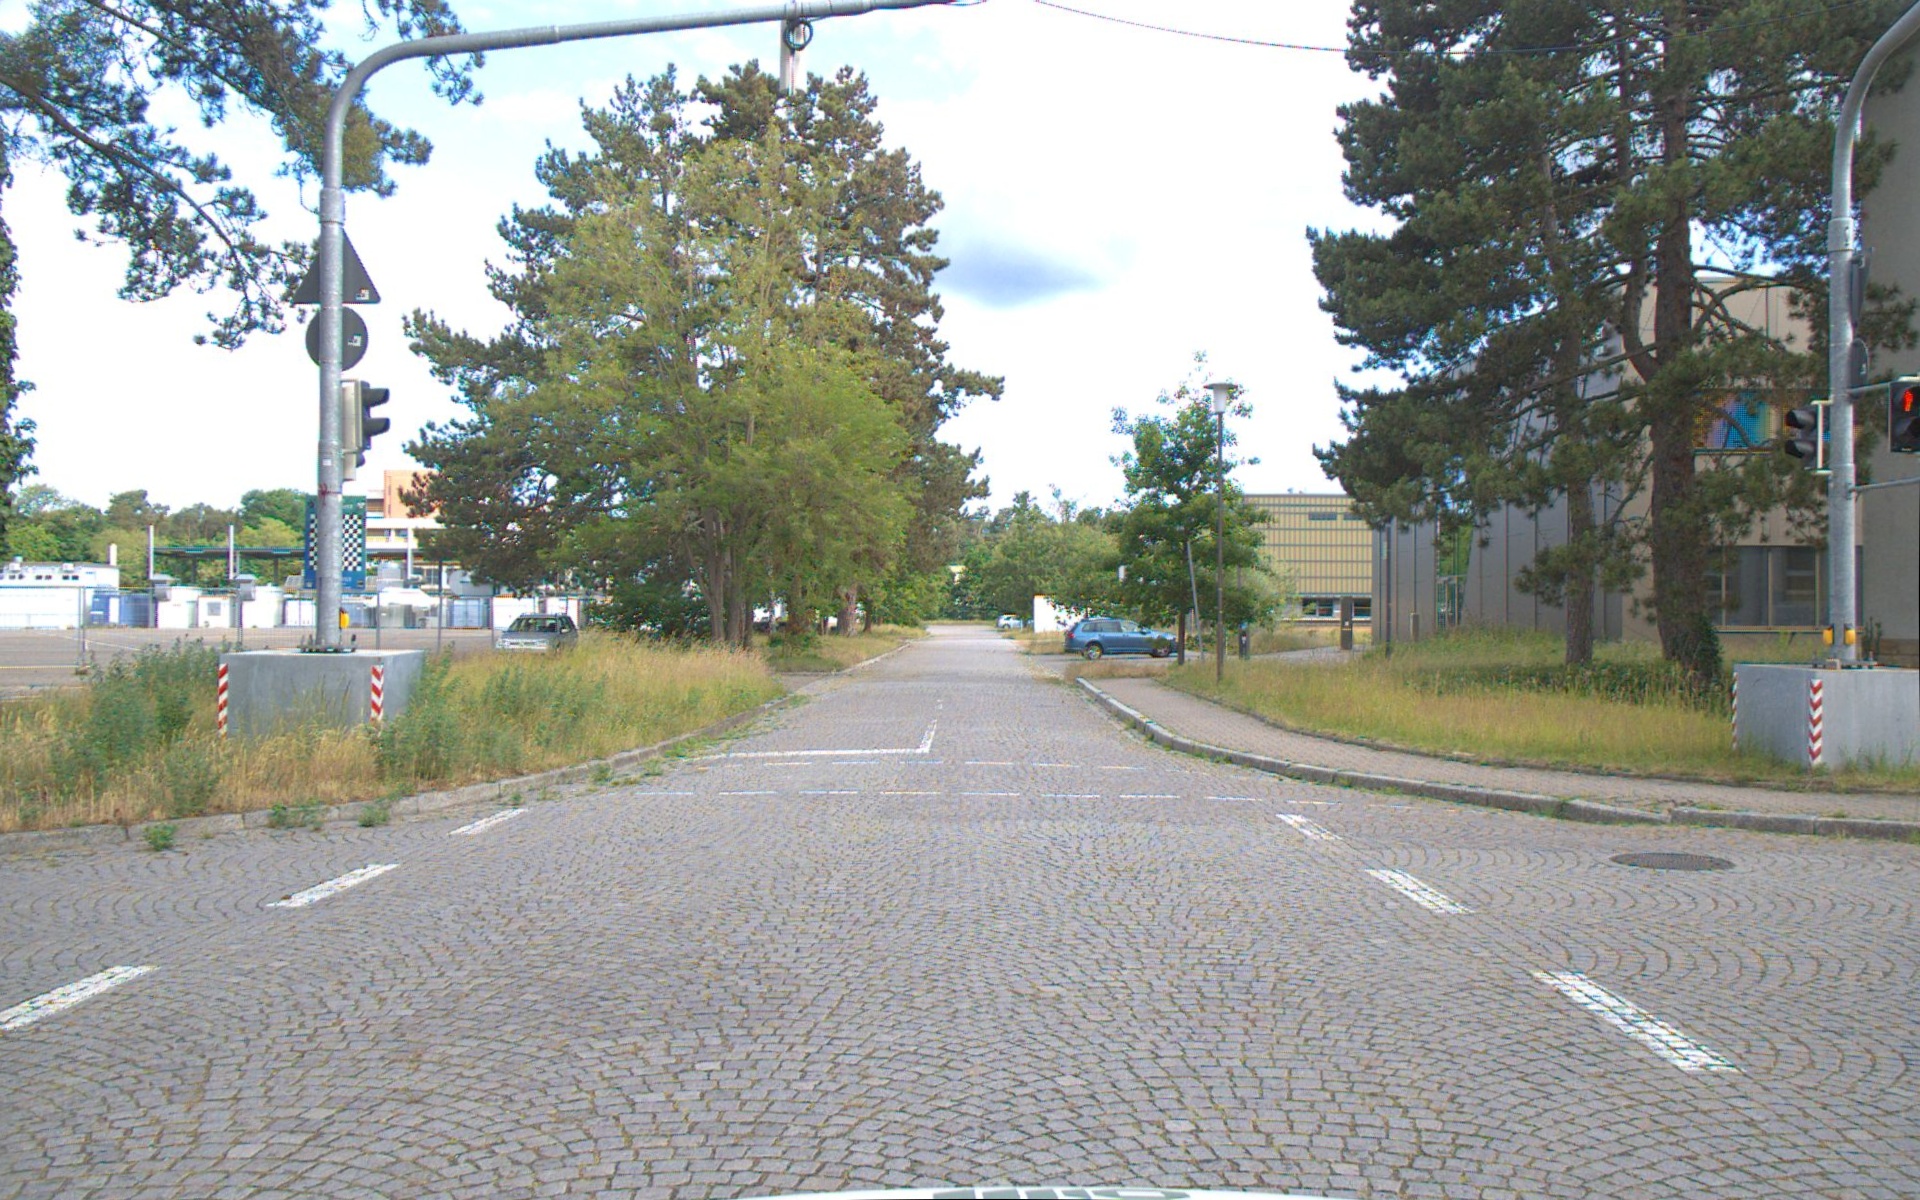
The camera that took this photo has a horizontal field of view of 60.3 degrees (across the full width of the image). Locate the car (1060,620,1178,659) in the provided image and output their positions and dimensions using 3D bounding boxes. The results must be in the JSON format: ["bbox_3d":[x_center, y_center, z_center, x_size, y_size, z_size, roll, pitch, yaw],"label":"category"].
[{"bbox_3d":[5.986,1.494,62.697,4.256,1.447,1.999,0,0,-2],"label":"car"}]

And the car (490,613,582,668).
[{"bbox_3d":[-12.226,1.134,47.916,1.580,1.513,4.000,0,0,0],"label":"car"}]

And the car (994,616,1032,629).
[{"bbox_3d":[5.708,2.431,179.768,3.909,1.422,1.998,0,0,-6],"label":"car"}]
